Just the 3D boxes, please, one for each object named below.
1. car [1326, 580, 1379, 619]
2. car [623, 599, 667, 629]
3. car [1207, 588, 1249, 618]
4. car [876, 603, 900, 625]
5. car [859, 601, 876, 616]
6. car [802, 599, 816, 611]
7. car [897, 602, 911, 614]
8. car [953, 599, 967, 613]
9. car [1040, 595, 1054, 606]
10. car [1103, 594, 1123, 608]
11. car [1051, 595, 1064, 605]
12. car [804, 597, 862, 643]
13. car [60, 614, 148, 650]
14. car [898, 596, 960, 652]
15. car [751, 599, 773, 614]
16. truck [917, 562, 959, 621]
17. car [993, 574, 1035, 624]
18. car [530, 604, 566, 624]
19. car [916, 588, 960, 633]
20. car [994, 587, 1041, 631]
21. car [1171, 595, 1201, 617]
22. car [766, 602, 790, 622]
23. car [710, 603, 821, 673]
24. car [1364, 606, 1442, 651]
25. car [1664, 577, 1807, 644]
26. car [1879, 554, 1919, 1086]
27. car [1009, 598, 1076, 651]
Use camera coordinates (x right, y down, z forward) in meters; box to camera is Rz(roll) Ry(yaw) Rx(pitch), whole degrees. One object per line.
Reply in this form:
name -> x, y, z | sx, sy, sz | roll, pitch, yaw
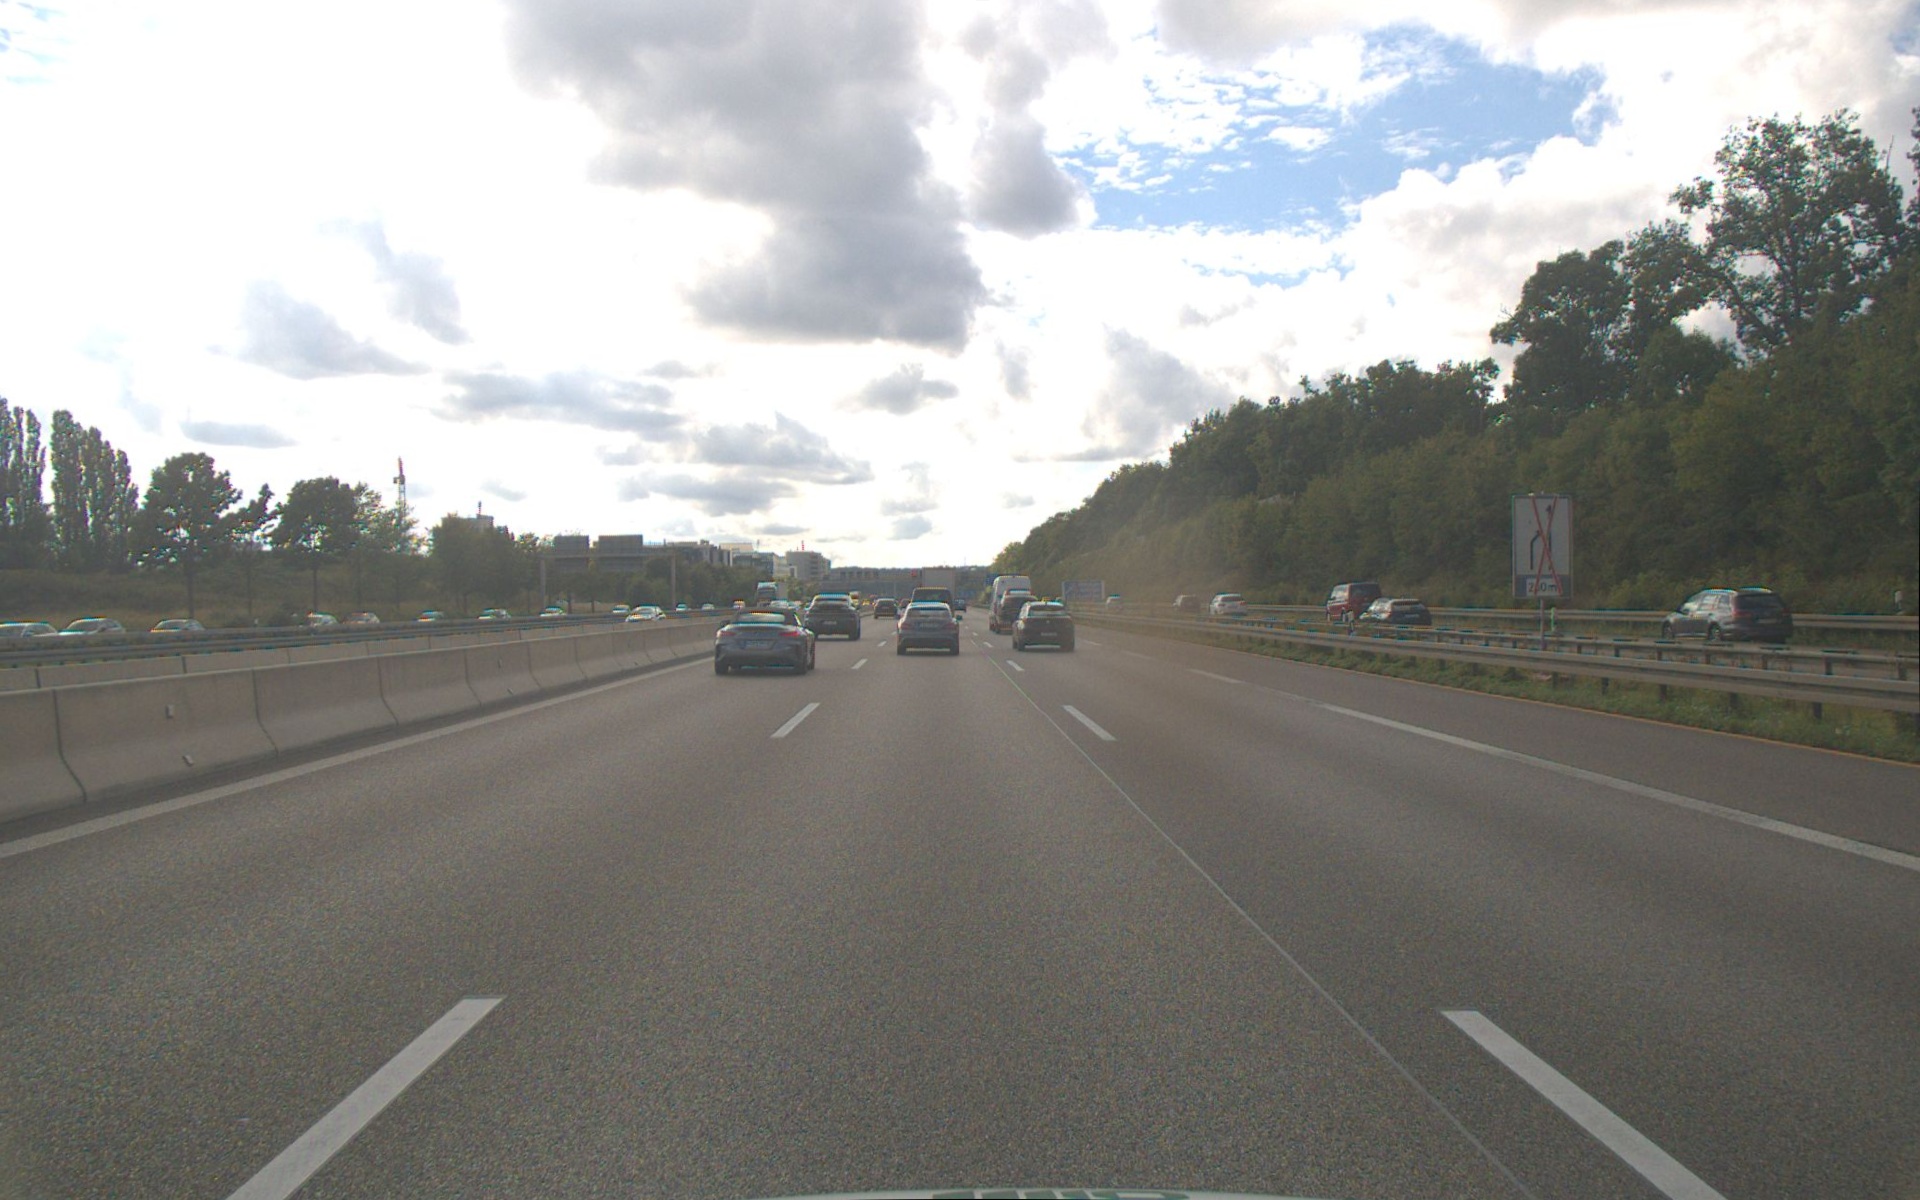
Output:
car -> 18.995, -0.004, 80.169 | 1.563, 1.835, 3.823 | 0, 0, -2
car -> -17.556, 0.773, 92.307 | 1.743, 1.674, 4.071 | 0, 0, -1
car -> 15.821, 0.165, 97.741 | 1.716, 1.725, 4.189 | 0, 0, -1
car -> -5.725, 1.078, 132.280 | 1.835, 1.728, 4.071 | 0, 0, -1
car -> -9.665, 0.907, 172.474 | 1.633, 1.583, 3.999 | 0, 0, -1
car -> -19.755, 0.681, 216.324 | 1.633, 1.583, 3.999 | 0, 0, -2
car -> -8.525, 1.184, 251.965 | 1.953, 1.847, 4.565 | 0, 0, -1
car -> -0.061, 0.771, 212.050 | 1.716, 1.725, 4.189 | 0, 0, -1
car -> 12.538, 0.086, 238.938 | 1.694, 1.560, 4.451 | -1, 0, -1
car -> 17.090, 0.151, 184.852 | 1.717, 1.543, 4.188 | 0, 0, -2
car -> 14.990, -0.014, 254.589 | 1.717, 1.543, 4.188 | 0, 0, -2
car -> -4.799, 0.715, 63.242 | 1.873, 1.664, 5.499 | 0, 0, -1
car -> -41.203, 1.513, 79.719 | 1.953, 1.660, 4.653 | 0, 0, -2
car -> -0.879, 0.644, 47.074 | 1.686, 1.505, 4.390 | 0, 0, -1
car -> -24.119, 0.820, 201.421 | 2.260, 1.808, 5.061 | 0, 0, -3
truck -> -1.768, -0.657, 132.297 | 3.197, 4.451, 11.024 | 1, 0, -1
car -> 2.640, -0.065, 81.860 | 1.835, 2.399, 4.281 | 0, 0, -1
car -> -35.913, 1.233, 144.244 | 1.953, 1.730, 5.134 | 0, 0, -2
car -> -0.891, 0.404, 66.542 | 1.686, 1.754, 4.390 | 0, 0, -1
car -> 2.575, 0.394, 74.868 | 1.874, 1.952, 4.029 | 0, 0, -1
car -> 17.970, 0.477, 131.739 | 1.716, 1.725, 4.189 | 0, 0, -1
car -> -15.048, 0.976, 136.903 | 1.633, 1.583, 3.999 | 0, 0, -1
car -> -3.983, 0.747, 34.573 | 1.835, 1.325, 4.941 | 0, 0, -1
car -> 16.094, 1.007, 60.227 | 1.563, 1.573, 4.188 | 0, 0, -2
car -> 19.758, 0.249, 42.335 | 1.718, 1.624, 3.999 | 0, 0, -1
car -> 3.752, 0.656, 3.121 | 1.663, 1.592, 4.112 | 0, 0, -2
car -> 2.483, 0.710, 50.645 | 1.795, 1.547, 4.224 | 0, 0, -1
